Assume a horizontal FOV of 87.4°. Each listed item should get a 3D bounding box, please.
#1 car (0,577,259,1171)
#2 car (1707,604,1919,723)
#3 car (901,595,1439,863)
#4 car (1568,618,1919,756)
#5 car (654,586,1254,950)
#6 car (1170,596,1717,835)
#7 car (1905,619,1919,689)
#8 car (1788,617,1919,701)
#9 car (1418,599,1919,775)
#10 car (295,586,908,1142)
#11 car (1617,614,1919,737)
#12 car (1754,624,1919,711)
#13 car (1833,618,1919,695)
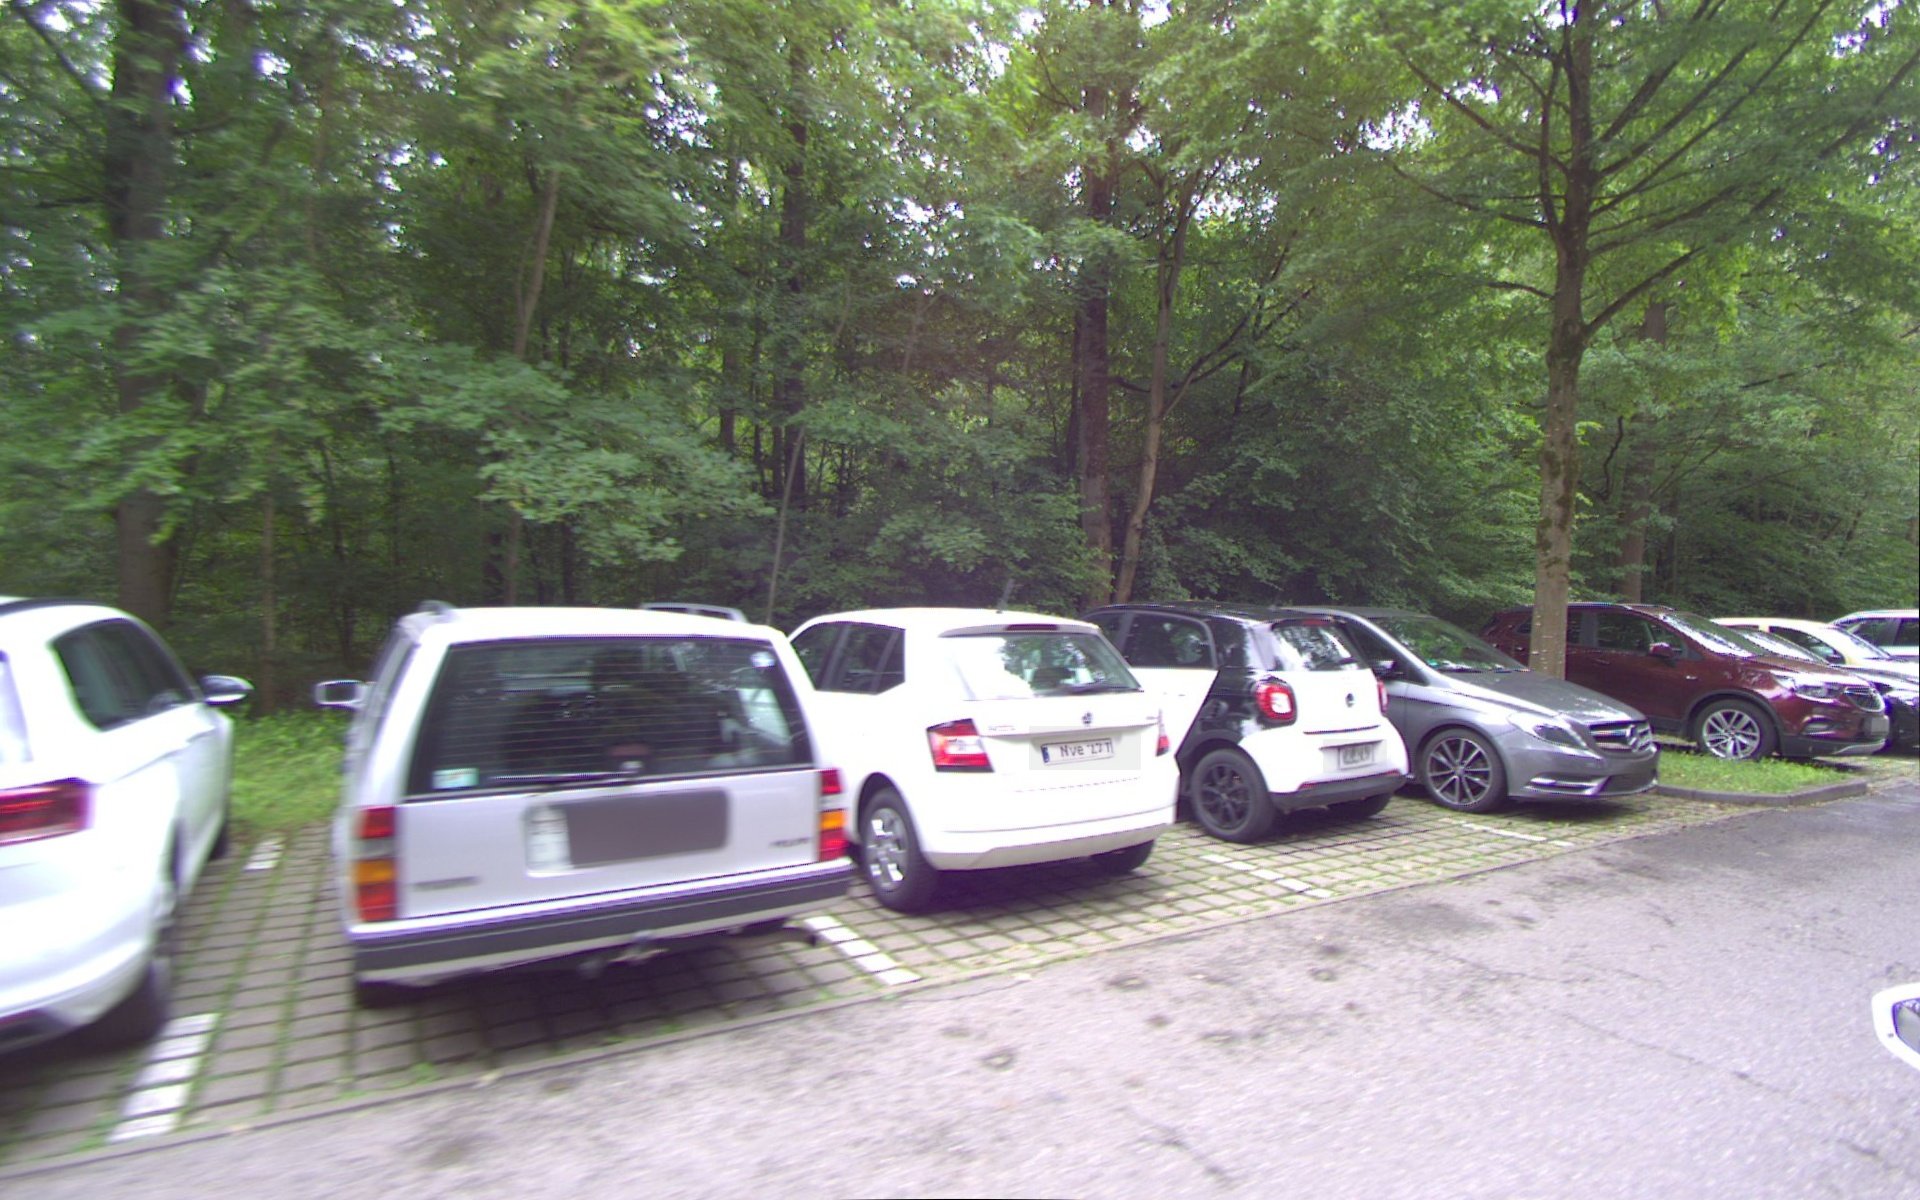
[{"bbox_3d":[-4.128,0.655,4.006,2.064,1.467,4.534,0,0,-34],"label":"car"},{"bbox_3d":[14.434,0.955,15.509,2.006,1.655,4.202,1,1,-31],"label":"car"},{"bbox_3d":[1.412,0.775,8.255,1.829,1.571,4.206,1,0,-35],"label":"car"},{"bbox_3d":[10.348,0.993,12.907,1.767,1.382,3.964,1,1,-32],"label":"car"},{"bbox_3d":[-0.470,0.697,6.676,1.919,1.506,4.538,1,0,-31],"label":"car"},{"bbox_3d":[3.995,0.784,8.969,1.899,1.576,4.011,1,0,-32],"label":"car"},{"bbox_3d":[22.860,1.224,21.130,1.910,1.544,4.062,1,0,-35],"label":"car"},{"bbox_3d":[18.271,1.124,18.900,1.643,1.470,3.840,0,1,-34],"label":"car"},{"bbox_3d":[8.034,0.832,11.868,1.905,1.605,4.491,1,0,-31],"label":"car"},{"bbox_3d":[-2.119,0.717,5.163,1.847,1.506,4.541,1,0,-30],"label":"car"},{"bbox_3d":[12.225,0.998,14.702,1.777,1.484,4.004,1,0,-29],"label":"car"},{"bbox_3d":[16.311,1.156,17.171,1.791,1.328,3.954,0,1,-34],"label":"car"},{"bbox_3d":[20.575,1.195,20.070,1.816,1.508,4.378,1,1,-31],"label":"car"}]
